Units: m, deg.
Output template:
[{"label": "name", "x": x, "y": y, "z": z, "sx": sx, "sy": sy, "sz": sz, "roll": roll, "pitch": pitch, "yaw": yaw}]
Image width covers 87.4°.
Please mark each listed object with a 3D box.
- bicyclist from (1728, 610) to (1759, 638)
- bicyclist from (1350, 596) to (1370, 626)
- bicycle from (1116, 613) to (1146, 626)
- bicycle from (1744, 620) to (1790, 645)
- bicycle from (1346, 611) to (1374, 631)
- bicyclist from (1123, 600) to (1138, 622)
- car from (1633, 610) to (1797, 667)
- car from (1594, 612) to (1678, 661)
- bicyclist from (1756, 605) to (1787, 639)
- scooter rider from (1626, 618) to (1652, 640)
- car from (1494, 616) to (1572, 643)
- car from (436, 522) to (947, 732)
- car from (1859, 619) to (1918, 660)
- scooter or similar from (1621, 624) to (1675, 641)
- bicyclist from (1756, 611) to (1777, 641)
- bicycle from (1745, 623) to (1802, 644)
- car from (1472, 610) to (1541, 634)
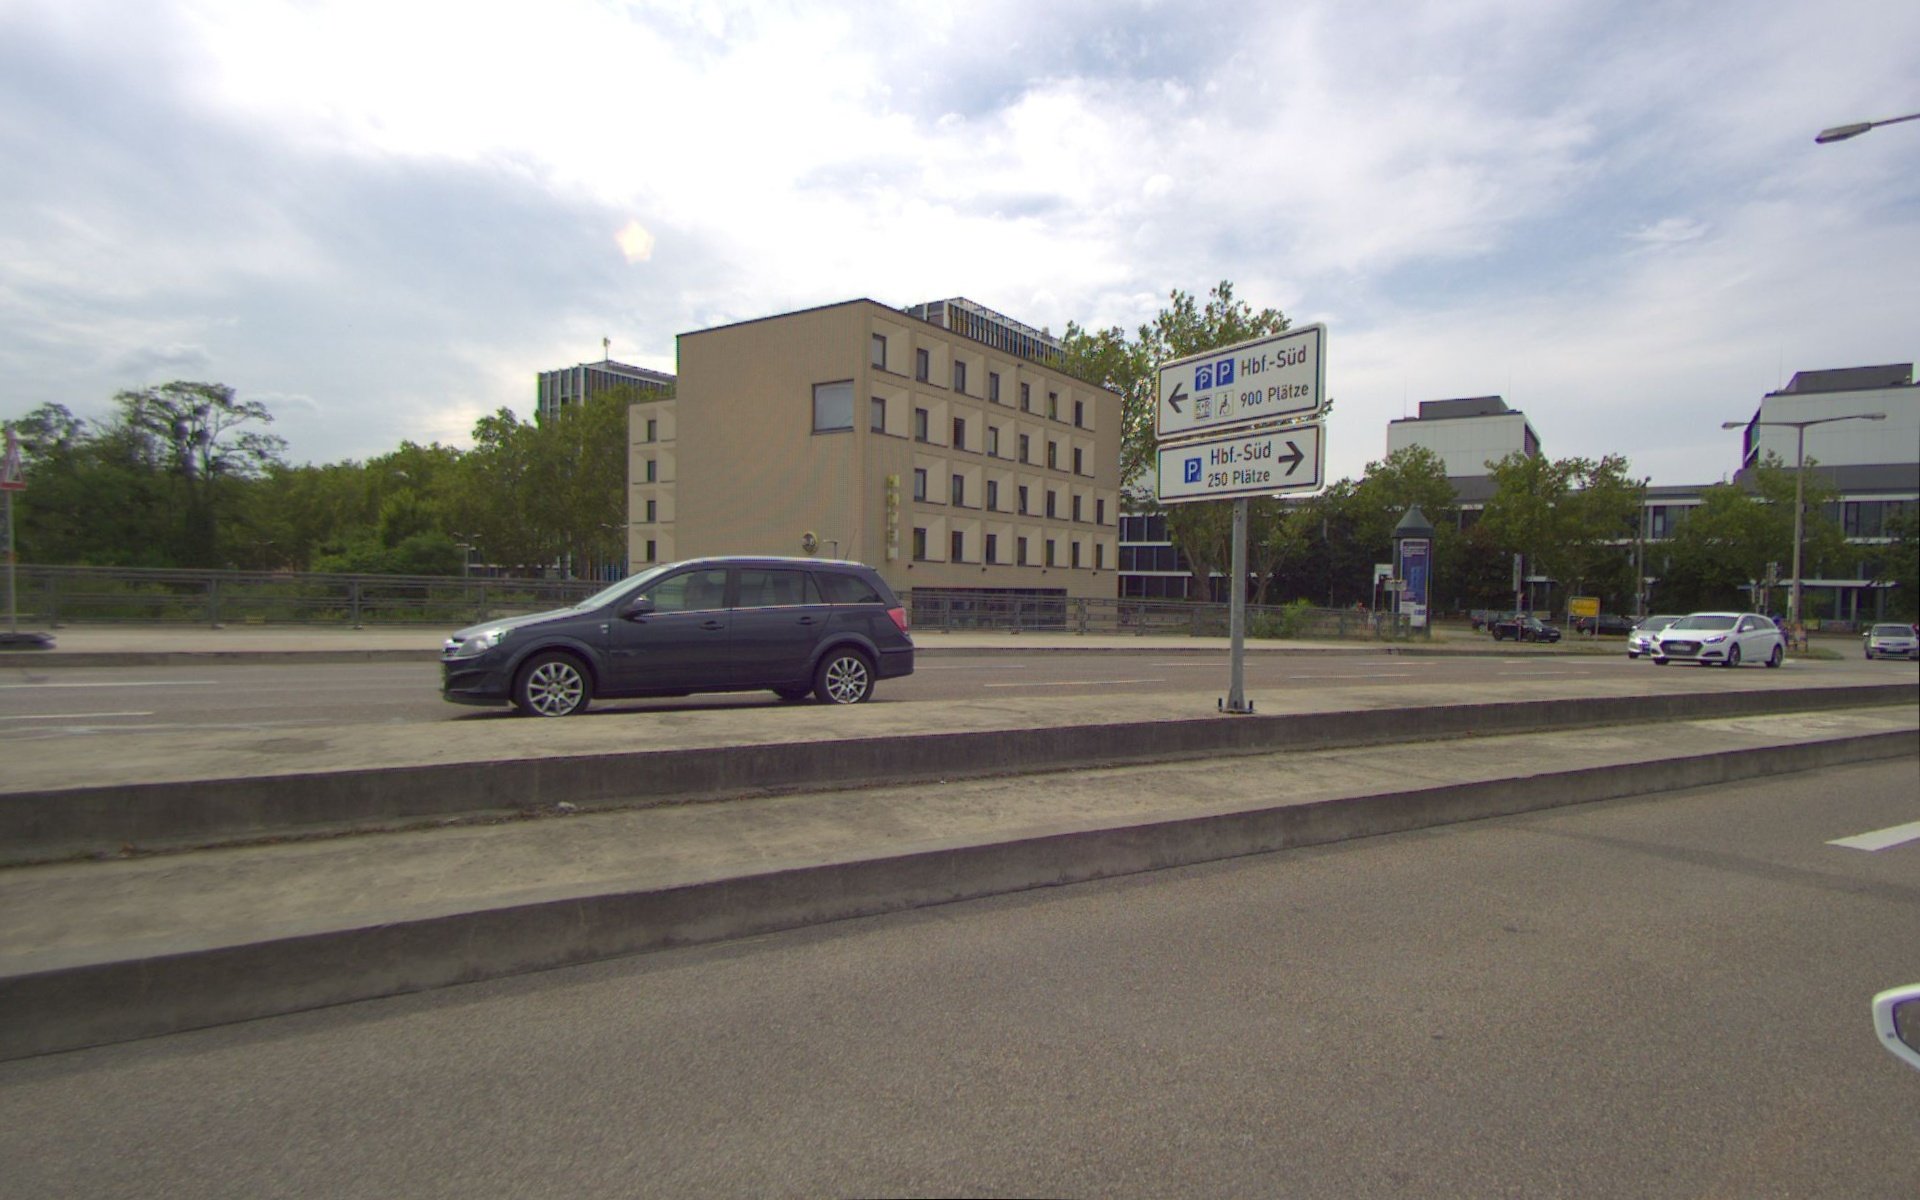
[{"label": "bicyclist", "x": 42.015, "y": 1.286, "z": 53.896, "sx": 1.094, "sy": 1.456, "sz": 0.648, "roll": 1, "pitch": 1, "yaw": 11}, {"label": "bicyclist", "x": 22.737, "y": 0.608, "z": 57.132, "sx": 0.673, "sy": 1.694, "sz": 0.847, "roll": 2, "pitch": 1, "yaw": -3}, {"label": "bicycle", "x": 12.923, "y": 1.451, "z": 75.771, "sx": 2.081, "sy": 0.921, "sz": 0.740, "roll": 2, "pitch": 0, "yaw": 30}, {"label": "bicycle", "x": 43.688, "y": 1.739, "z": 54.411, "sx": 1.876, "sy": 1.226, "sz": 0.641, "roll": 2, "pitch": 1, "yaw": 36}, {"label": "bicycle", "x": 22.714, "y": 1.179, "z": 57.107, "sx": 0.673, "sy": 1.068, "sz": 1.993, "roll": 2, "pitch": 1, "yaw": -3}, {"label": "bicyclist", "x": 12.885, "y": 0.822, "z": 75.796, "sx": 0.904, "sy": 1.636, "sz": 0.740, "roll": 2, "pitch": 1, "yaw": 30}, {"label": "car", "x": 20.785, "y": 1.036, "z": 27.617, "sx": 4.824, "sy": 1.434, "sz": 1.909, "roll": 1, "pitch": 0, "yaw": -31}, {"label": "car", "x": 23.547, "y": 1.231, "z": 34.914, "sx": 1.896, "sy": 1.547, "sz": 4.857, "roll": 1, "pitch": 0, "yaw": 40}, {"label": "bicyclist", "x": 41.755, "y": 1.123, "z": 51.700, "sx": 0.866, "sy": 1.678, "sz": 0.812, "roll": 2, "pitch": 0, "yaw": 3}, {"label": "scooter rider", "x": 37.877, "y": 1.628, "z": 56.003, "sx": 0.898, "sy": 1.152, "sz": 0.809, "roll": 2, "pitch": 1, "yaw": 7}, {"label": "car", "x": 32.676, "y": 1.664, "z": 57.430, "sx": 1.717, "sy": 1.429, "sz": 3.867, "roll": 2, "pitch": -1, "yaw": -12}, {"label": "car", "x": -2.566, "y": 0.228, "z": 9.894, "sx": 4.531, "sy": 1.662, "sz": 1.878, "roll": 1, "pitch": 1, "yaw": -31}, {"label": "car", "x": 40.278, "y": 1.705, "z": 43.559, "sx": 1.724, "sy": 1.680, "sz": 4.054, "roll": 1, "pitch": -1, "yaw": 45}, {"label": "scooter or similar", "x": 38.310, "y": 1.796, "z": 55.949, "sx": 2.338, "sy": 0.861, "sz": 0.809, "roll": 2, "pitch": 1, "yaw": 7}, {"label": "bicyclist", "x": 43.680, "y": 1.394, "z": 54.400, "sx": 0.769, "sy": 1.602, "sz": 0.652, "roll": 2, "pitch": 1, "yaw": 35}, {"label": "bicycle", "x": 41.854, "y": 1.725, "z": 51.696, "sx": 2.190, "sy": 0.965, "sz": 0.812, "roll": 2, "pitch": 0, "yaw": 3}, {"label": "car", "x": 37.488, "y": 1.467, "z": 68.926, "sx": 4.002, "sy": 1.470, "sz": 1.697, "roll": 2, "pitch": 1, "yaw": 35}]
